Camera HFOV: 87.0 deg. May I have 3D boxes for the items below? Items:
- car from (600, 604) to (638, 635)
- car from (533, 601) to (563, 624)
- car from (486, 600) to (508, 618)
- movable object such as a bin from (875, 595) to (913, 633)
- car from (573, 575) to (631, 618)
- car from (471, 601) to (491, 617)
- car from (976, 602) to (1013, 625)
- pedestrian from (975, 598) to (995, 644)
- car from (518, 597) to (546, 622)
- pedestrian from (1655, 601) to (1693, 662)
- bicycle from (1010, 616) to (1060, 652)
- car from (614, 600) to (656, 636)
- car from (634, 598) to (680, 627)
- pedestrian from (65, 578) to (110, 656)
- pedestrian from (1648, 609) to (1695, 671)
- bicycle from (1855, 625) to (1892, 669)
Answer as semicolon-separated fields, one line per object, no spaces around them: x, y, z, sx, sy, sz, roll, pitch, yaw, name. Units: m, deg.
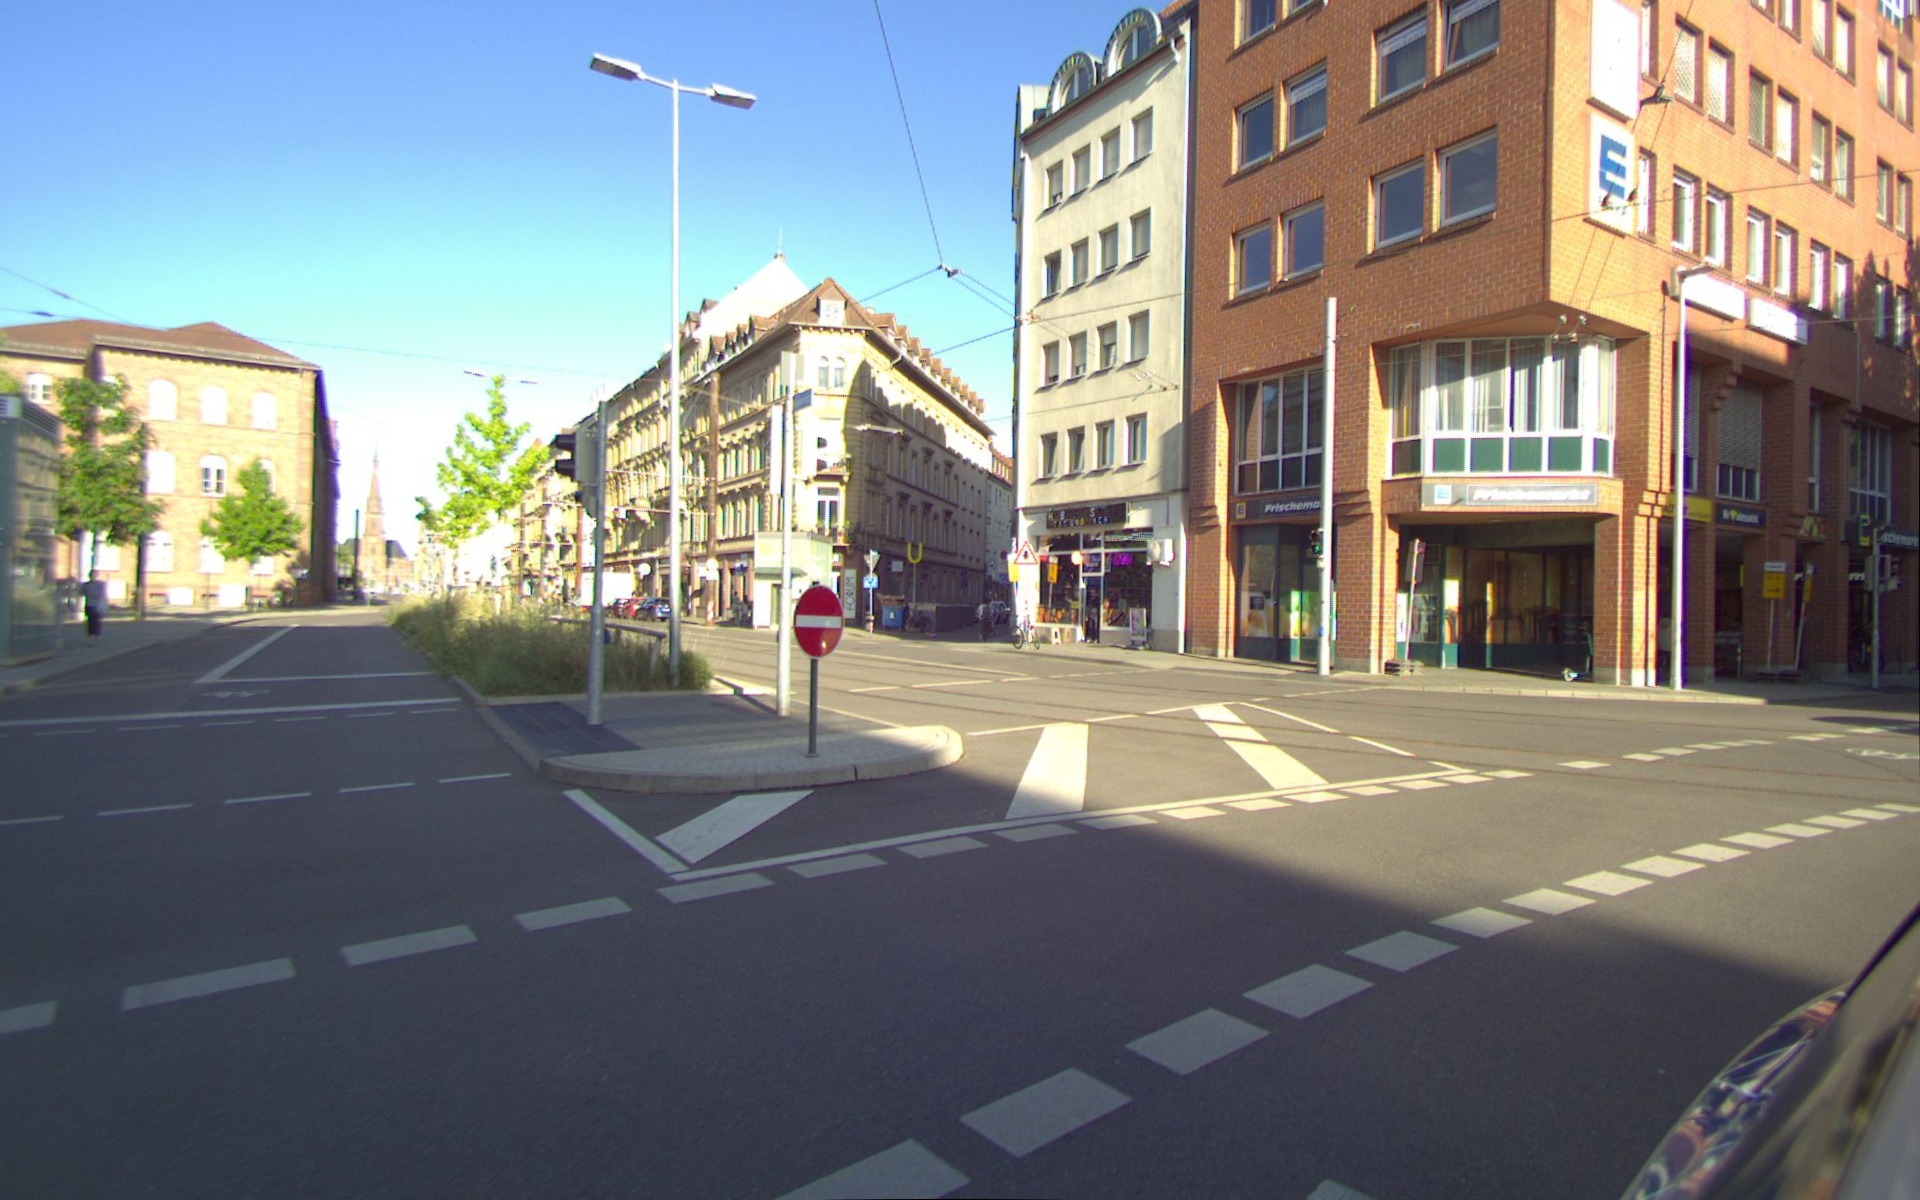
-23.488;1.315;69.732;1.693;1.997;3.932;2;-1;-30;car
-39.674;1.204;97.430;2.190;2.040;4.347;2;-3;-29;car
-58.455;1.176;127.825;2.190;2.040;4.347;2;-3;-29;car
-3.263;0.715;50.158;1.623;1.807;1.397;0;-3;10;movable object such as a bin
-26.461;-0.242;74.683;2.239;3.061;5.357;2;-1;-41;car
-67.966;1.316;143.594;2.190;2.040;4.347;2;-3;-29;car
2.474;0.982;71.926;1.704;1.541;3.979;1;-1;16;car
0.932;0.779;37.815;0.680;1.658;0.962;1;-1;-1;pedestrian
-45.717;1.038;108.071;2.190;2.414;4.347;2;-3;-29;car
20.103;0.878;28.491;0.781;1.684;0.602;3;-3;-32;pedestrian
2.168;0.973;29.637;0.450;1.003;1.867;0;-1;-31;bicycle
-21.138;1.149;65.814;1.776;2.209;3.932;2;-1;-30;car
-18.081;0.705;60.296;1.693;1.631;3.932;2;-1;-30;car
-19.593;0.385;22.739;0.623;1.692;0.754;3;-2;-36;pedestrian
18.997;1.065;27.042;0.835;1.610;0.750;1;-2;19;pedestrian
27.219;1.401;30.141;1.676;1.272;0.341;3;-2;-30;bicycle
